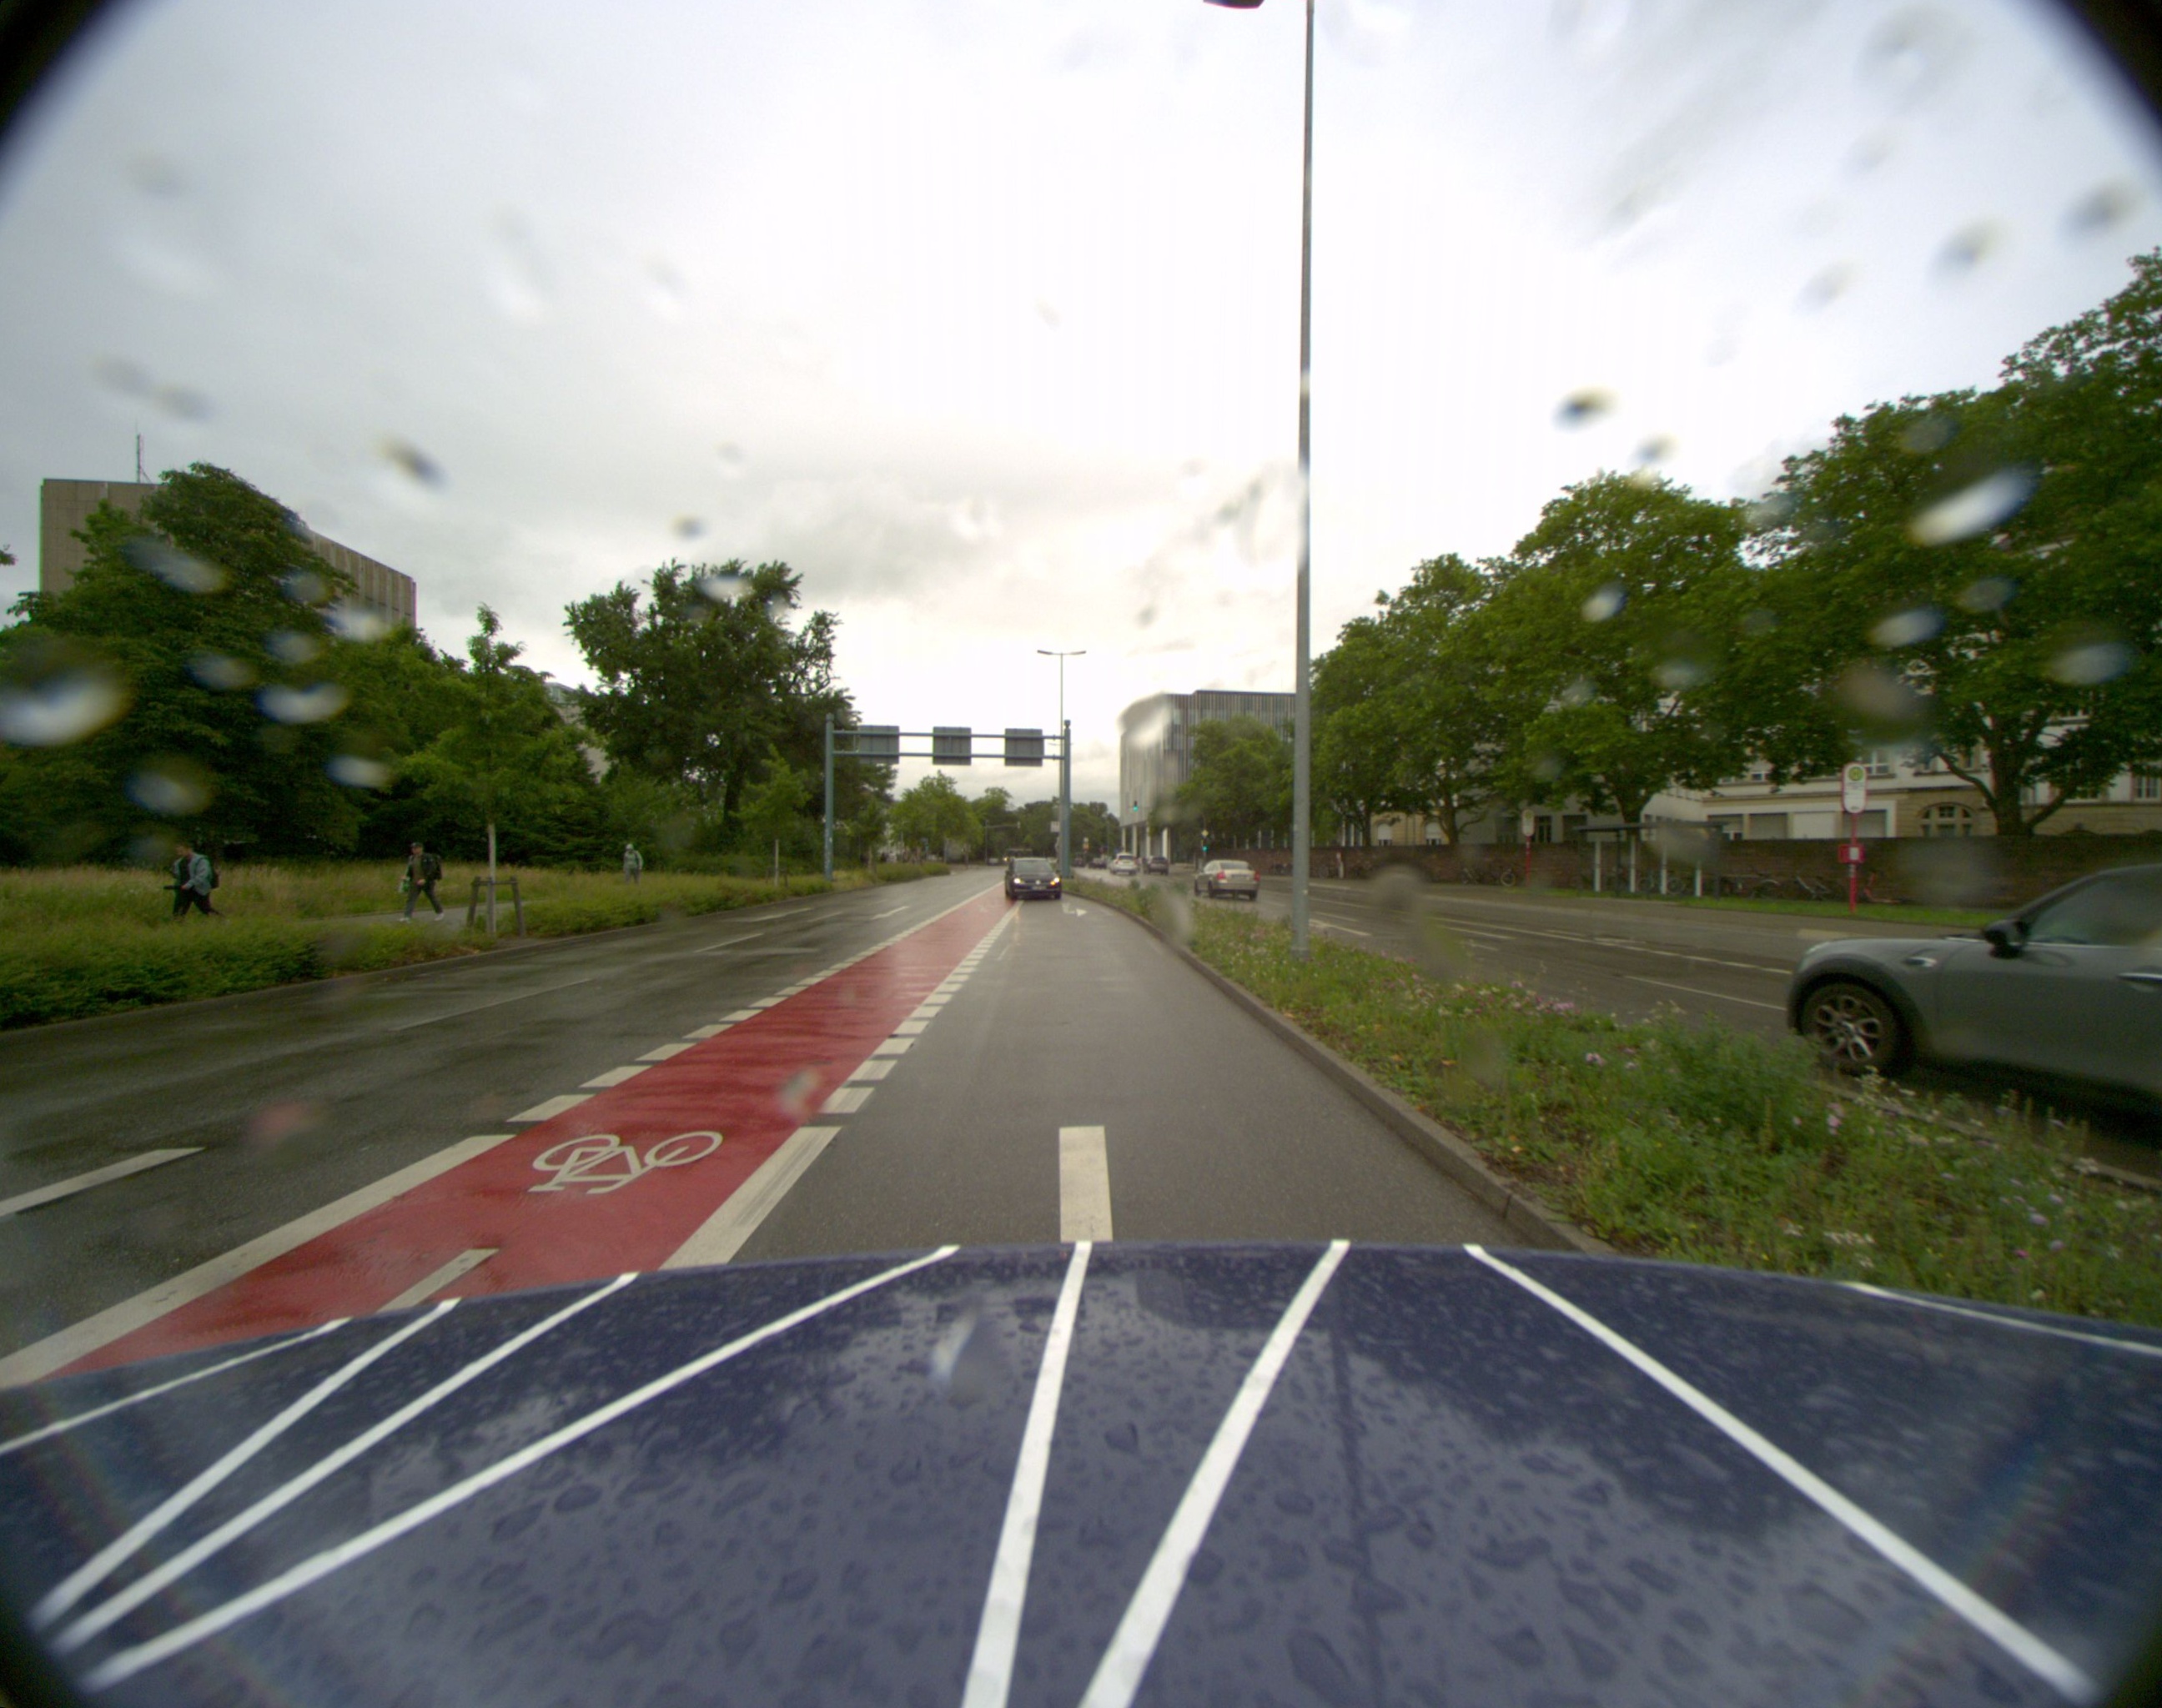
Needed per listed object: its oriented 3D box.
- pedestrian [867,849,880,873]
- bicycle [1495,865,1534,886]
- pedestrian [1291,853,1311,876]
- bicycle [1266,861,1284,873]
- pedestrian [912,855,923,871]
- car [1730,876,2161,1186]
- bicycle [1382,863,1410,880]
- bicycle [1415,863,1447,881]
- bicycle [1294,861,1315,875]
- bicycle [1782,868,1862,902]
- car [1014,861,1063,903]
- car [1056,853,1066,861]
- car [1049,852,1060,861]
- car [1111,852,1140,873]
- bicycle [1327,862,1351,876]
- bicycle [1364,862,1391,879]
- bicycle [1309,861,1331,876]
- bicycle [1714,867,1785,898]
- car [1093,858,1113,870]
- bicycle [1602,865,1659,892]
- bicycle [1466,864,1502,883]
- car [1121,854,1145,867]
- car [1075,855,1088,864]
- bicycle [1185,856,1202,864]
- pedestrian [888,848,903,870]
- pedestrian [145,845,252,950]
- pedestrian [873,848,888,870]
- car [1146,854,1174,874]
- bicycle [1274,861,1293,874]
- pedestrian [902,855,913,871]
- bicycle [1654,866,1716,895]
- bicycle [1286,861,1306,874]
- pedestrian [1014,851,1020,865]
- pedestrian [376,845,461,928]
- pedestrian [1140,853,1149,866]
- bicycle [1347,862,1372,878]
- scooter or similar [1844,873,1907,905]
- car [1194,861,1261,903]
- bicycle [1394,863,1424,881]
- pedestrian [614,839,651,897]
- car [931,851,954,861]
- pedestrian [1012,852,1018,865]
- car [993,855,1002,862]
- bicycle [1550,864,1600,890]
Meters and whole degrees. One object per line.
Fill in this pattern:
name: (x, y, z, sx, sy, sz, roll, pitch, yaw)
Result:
pedestrian: (-16.036, 0.527, 58.636, 0.731, 1.848, 0.851, 0, 0, 4)
bicycle: (21.651, 1.069, 38.013, 0.734, 0.977, 1.699, 0, 0, -14)
pedestrian: (15.905, 0.745, 55.050, 0.871, 1.686, 1.399, 0, 0, -9)
bicycle: (15.946, 1.037, 62.384, 0.734, 0.977, 1.699, 0, 0, -14)
pedestrian: (-16.806, 0.939, 78.079, 0.878, 1.598, 0.862, 0, 0, -25)
car: (5.811, 0.863, 3.679, 1.776, 1.368, 4.121, 3, -1, 0)
bicycle: (19.300, 1.057, 46.589, 0.734, 0.977, 1.699, 0, 0, -14)
bicycle: (19.739, 1.025, 42.909, 0.734, 0.977, 1.699, 0, 0, -14)
bicycle: (16.628, 1.035, 56.531, 0.733, 0.977, 1.863, 0, 0, -9)
bicycle: (26.236, 1.082, 26.960, 0.575, 1.129, 1.988, 0, 0, -19)
car: (-1.584, 0.964, 27.587, 1.661, 1.356, 4.105, 0, 0, -4)
car: (-3.878, 0.500, 144.435, 1.601, 1.407, 4.522, 2, 0, -5)
car: (-4.590, 0.428, 130.623, 1.684, 1.493, 3.866, 1, 0, -6)
car: (3.774, 0.694, 64.933, 1.831, 1.672, 5.163, 2, 0, -3)
bicycle: (17.866, 1.040, 52.664, 0.734, 0.977, 1.699, 0, 0, -14)
bicycle: (18.819, 1.040, 48.258, 0.734, 0.977, 1.699, 0, 0, -14)
bicycle: (17.213, 1.037, 54.732, 0.734, 0.977, 1.699, 0, 0, -14)
bicycle: (25.291, 1.054, 28.792, 0.575, 1.129, 1.988, 0, 0, -19)
car: (3.005, 1.355, 106.508, 1.815, 1.531, 4.698, 2, 0, -11)
bicycle: (23.715, 1.048, 32.838, 0.575, 1.129, 1.987, 0, 0, -22)
bicycle: (21.199, 1.021, 40.049, 0.734, 0.977, 1.699, 0, 0, -14)
car: (5.833, 0.740, 85.751, 1.685, 1.396, 4.154, 1, 0, -9)
car: (0.022, 0.919, 122.073, 1.629, 1.407, 4.063, 2, 0, -6)
bicycle: (16.089, 0.863, 108.772, 2.287, 1.215, 0.598, 0, 0, -15)
pedestrian: (-14.648, 0.412, 59.878, 0.935, 1.710, 0.829, -1, -2, 2)
pedestrian: (-15.620, 0.747, 13.471, 0.935, 1.786, 0.829, 0, 0, 4)
pedestrian: (-15.778, 0.411, 59.905, 0.935, 1.693, 0.829, -1, -2, 2)
car: (7.029, 0.853, 67.813, 1.998, 1.626, 4.602, 2, 0, 0)
bicycle: (16.070, 1.036, 60.363, 0.734, 0.977, 1.699, 0, 0, -14)
pedestrian: (-17.735, 0.930, 77.677, 0.878, 1.598, 0.862, 0, 0, -25)
bicycle: (24.555, 1.051, 30.944, 0.575, 1.129, 1.988, 0, 0, -19)
bicycle: (16.605, 1.038, 58.713, 0.734, 0.977, 1.699, 0, 0, -14)
pedestrian: (-8.884, 0.550, 104.932, 0.786, 1.814, 0.624, 0, 0, -2)
pedestrian: (-14.421, 0.688, 16.565, 0.935, 1.737, 1.046, 0, 0, 4)
pedestrian: (8.921, 0.735, 106.869, 0.941, 1.813, 0.921, 0, 0, -26)
bicycle: (18.318, 1.040, 49.936, 0.734, 0.977, 1.699, 0, 0, -14)
scooter or similar: (26.747, 1.162, 25.606, 0.574, 1.040, 1.360, 0, 0, -19)
car: (5.534, 1.015, 29.121, 1.698, 1.407, 4.182, 0, 0, -1)
bicycle: (19.531, 1.058, 45.256, 0.734, 0.977, 1.699, 0, 0, -14)
pedestrian: (-15.707, 0.495, 26.618, 0.792, 2.002, 0.829, 0, 0, 4)
car: (-28.437, 0.432, 155.994, 4.428, 1.862, 1.636, 0, 0, -11)
pedestrian: (-9.073, 0.572, 104.219, 0.786, 1.814, 0.624, 0, 0, -2)
car: (-15.701, 0.860, 143.145, 1.661, 1.259, 4.105, 0, 0, -4)
bicycle: (22.765, 1.043, 35.057, 0.575, 1.129, 1.987, 0, 0, -22)
